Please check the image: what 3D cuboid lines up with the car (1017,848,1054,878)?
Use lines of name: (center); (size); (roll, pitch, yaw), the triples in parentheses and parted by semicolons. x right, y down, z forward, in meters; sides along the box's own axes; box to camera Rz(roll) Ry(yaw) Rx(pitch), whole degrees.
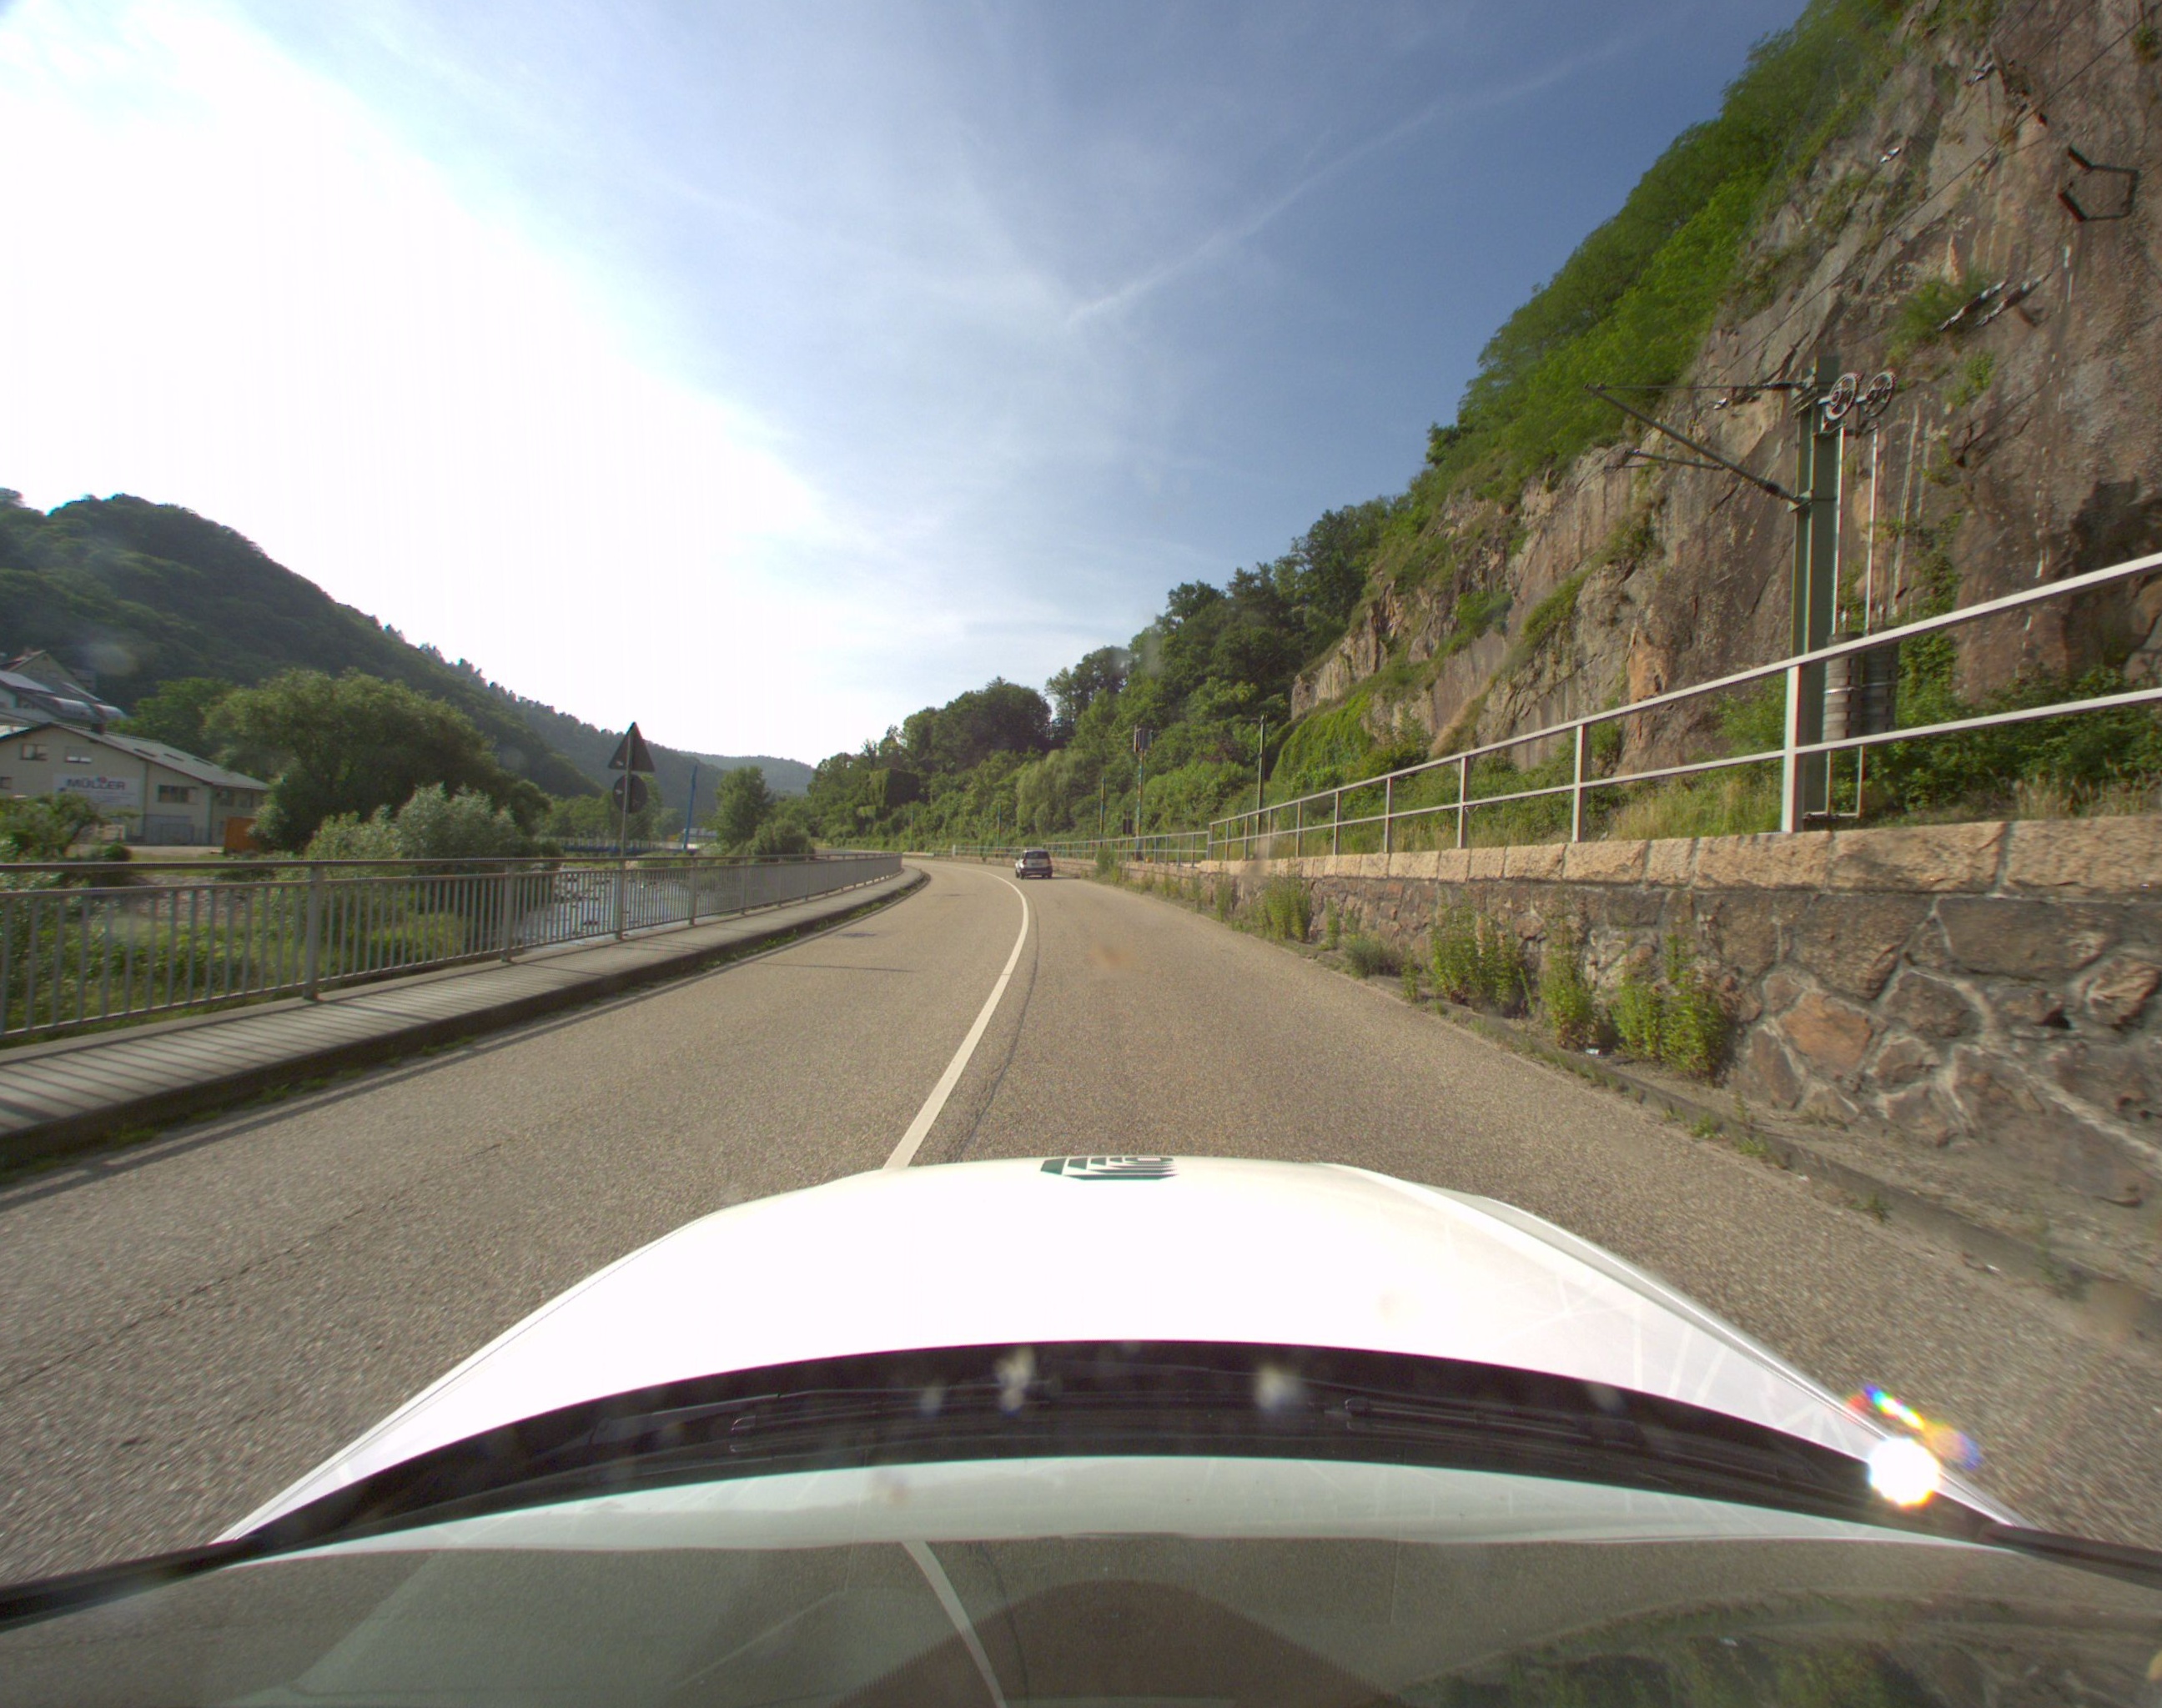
car: (-2.620, 0.462, 46.281); (1.871, 1.656, 3.990); (0, 0, -7)
